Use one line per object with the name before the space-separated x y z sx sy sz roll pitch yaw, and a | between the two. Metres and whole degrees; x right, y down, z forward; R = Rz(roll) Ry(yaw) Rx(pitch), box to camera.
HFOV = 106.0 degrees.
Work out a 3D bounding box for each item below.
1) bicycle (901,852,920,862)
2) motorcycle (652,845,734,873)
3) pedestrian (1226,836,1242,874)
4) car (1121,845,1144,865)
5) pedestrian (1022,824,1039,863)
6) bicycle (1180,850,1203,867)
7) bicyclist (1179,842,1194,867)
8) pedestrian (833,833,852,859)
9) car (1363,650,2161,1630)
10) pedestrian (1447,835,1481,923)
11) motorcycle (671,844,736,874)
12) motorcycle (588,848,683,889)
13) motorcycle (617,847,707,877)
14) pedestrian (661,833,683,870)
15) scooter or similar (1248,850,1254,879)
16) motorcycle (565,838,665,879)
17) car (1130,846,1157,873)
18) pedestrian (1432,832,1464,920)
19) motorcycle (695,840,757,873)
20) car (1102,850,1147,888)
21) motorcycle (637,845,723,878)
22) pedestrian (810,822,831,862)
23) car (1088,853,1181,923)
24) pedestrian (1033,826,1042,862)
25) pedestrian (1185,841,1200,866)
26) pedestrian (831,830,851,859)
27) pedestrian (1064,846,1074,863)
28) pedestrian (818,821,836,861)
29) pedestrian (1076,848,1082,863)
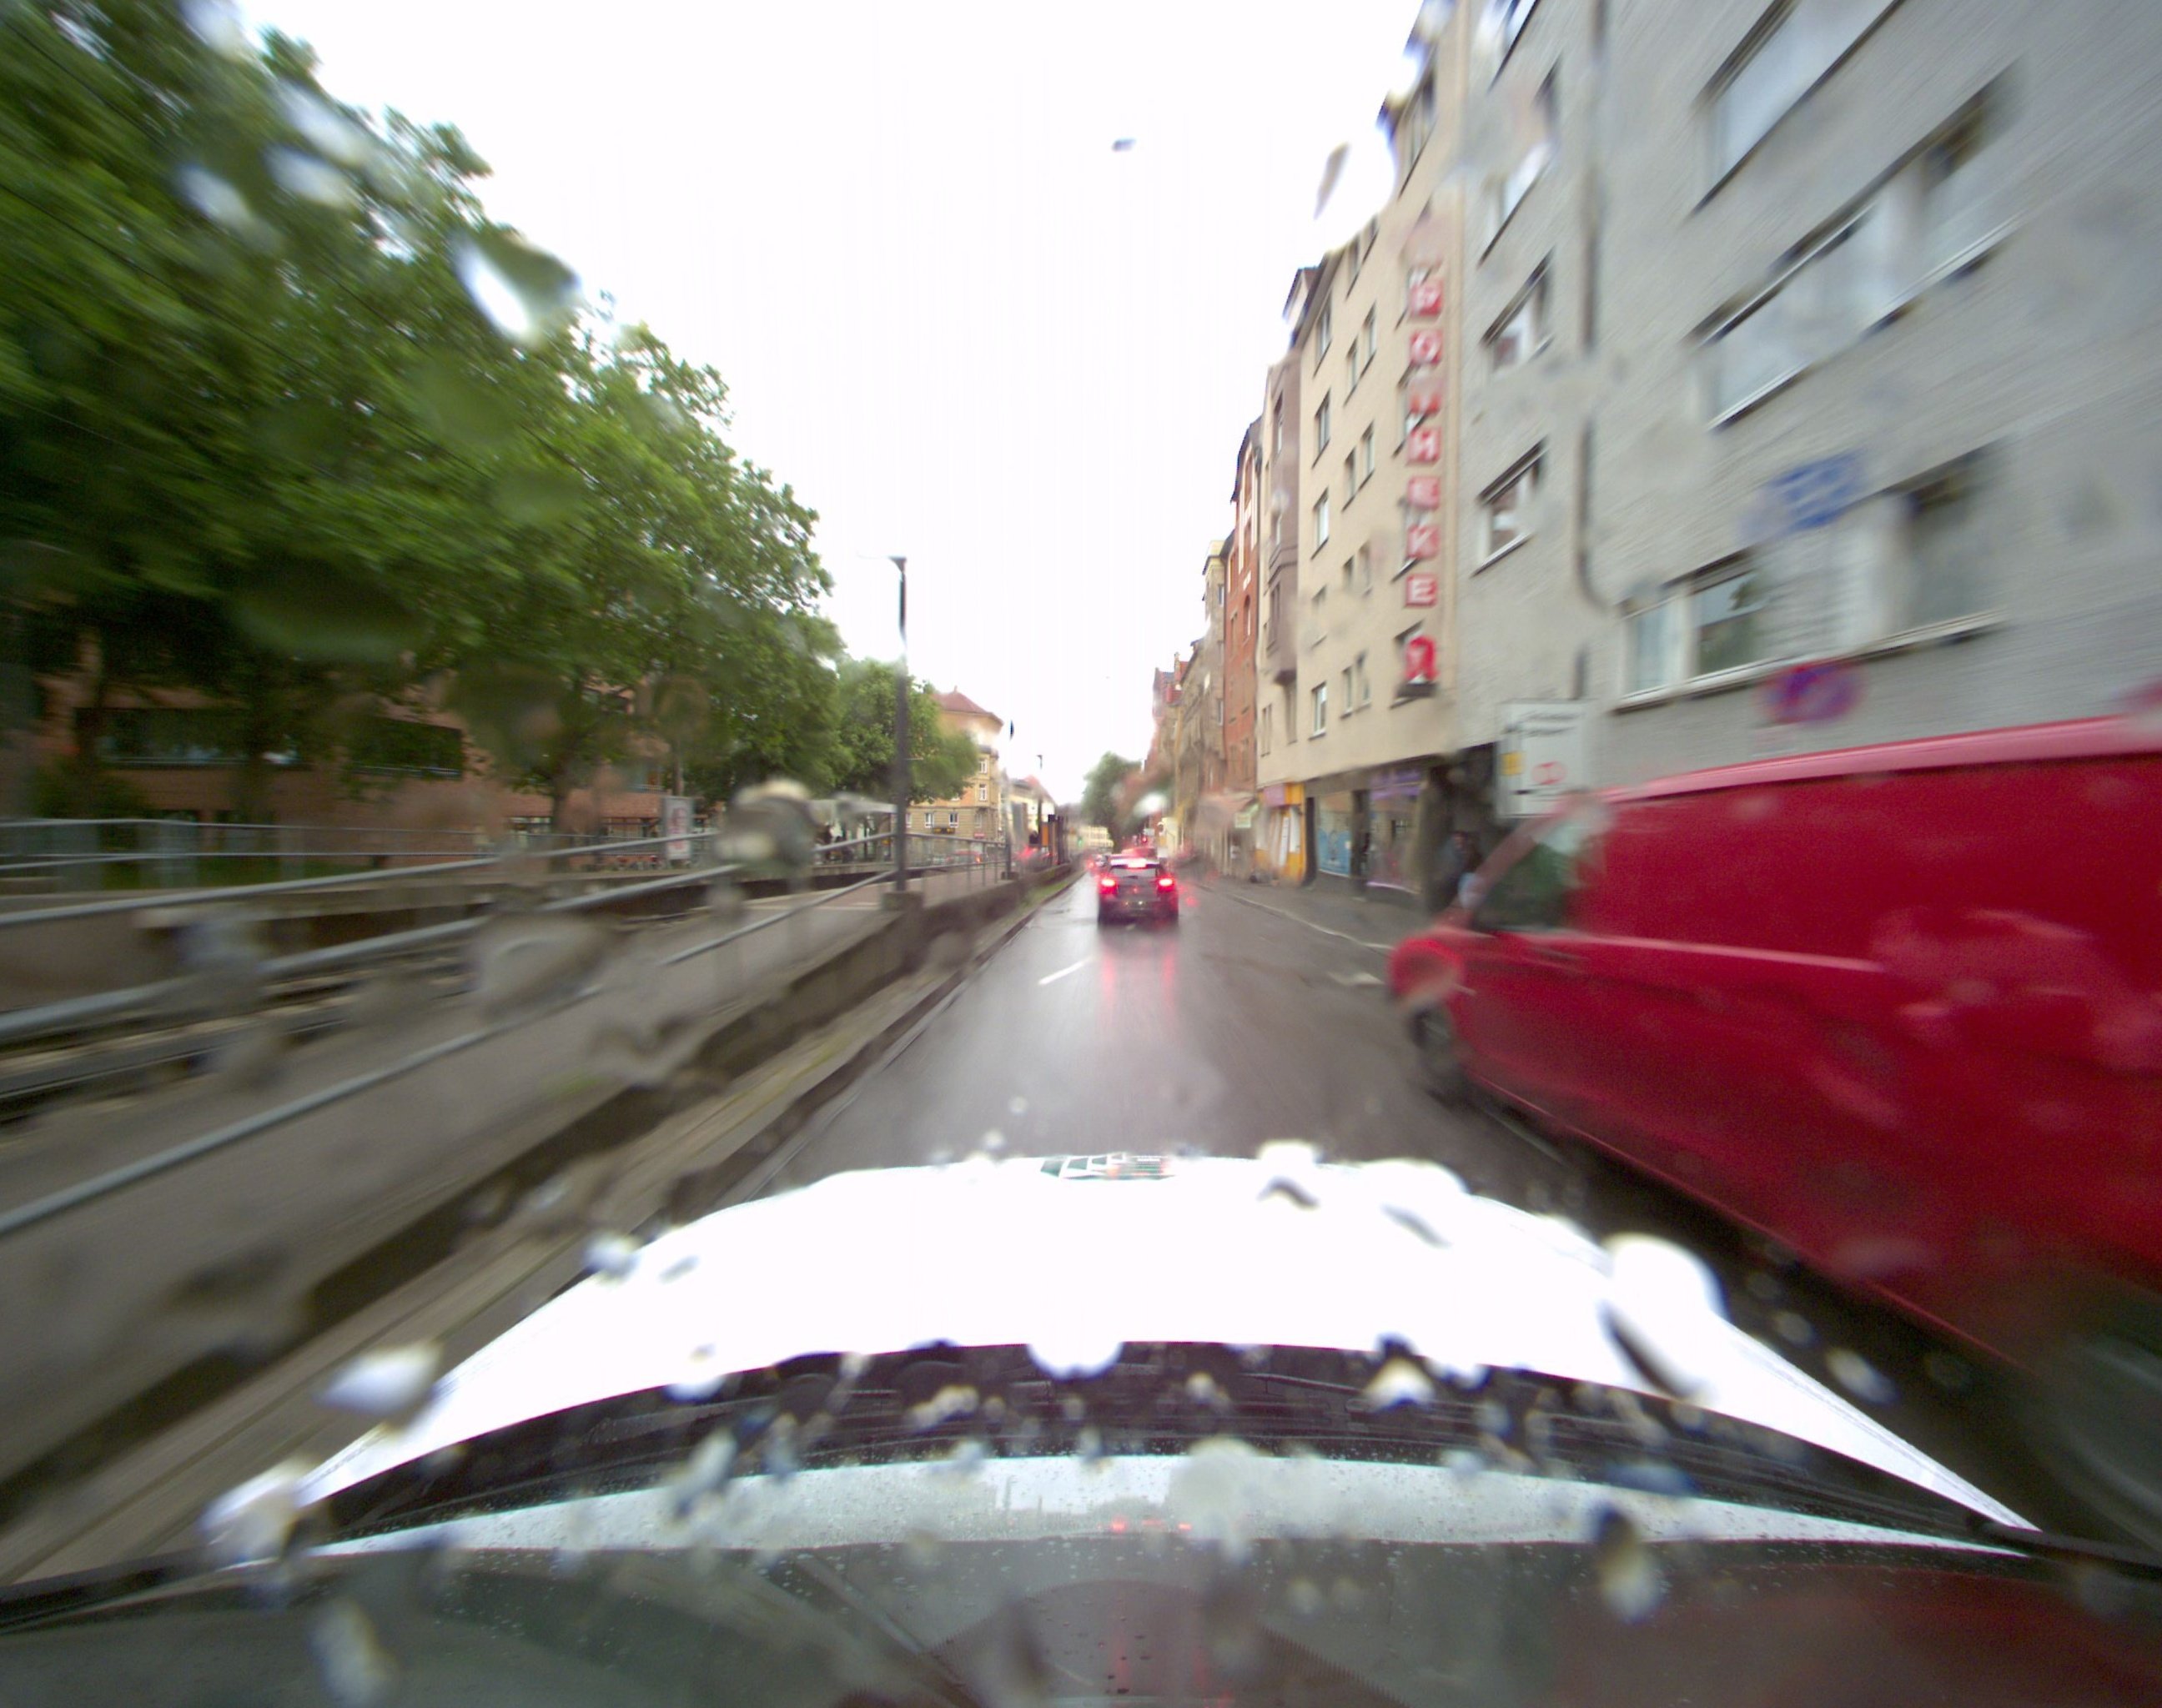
bicycle | -17.004 0.302 81.351 1.871 1.061 0.516 0 0 -10
motorcycle | -20.635 0.257 43.343 3.851 1.487 1.006 0 0 0
pedestrian | 7.428 0.054 39.604 0.576 1.830 0.563 -3 -1 -1
car | 4.911 0.086 78.370 1.927 1.831 4.279 0 1 -1
pedestrian | -2.127 -0.439 34.105 0.492 1.605 0.640 0 0 18
bicycle | 7.638 0.325 56.254 1.697 1.115 0.459 -1 0 -39
bicyclist | 7.350 0.038 56.626 0.854 1.657 0.624 -1 0 -39
pedestrian | -11.463 -0.401 39.169 0.701 1.240 0.564 1 1 -1
car | 3.008 0.523 3.230 1.968 1.838 5.245 0 0 0
pedestrian | 7.209 0.465 15.341 0.478 1.645 0.332 1 0 5
motorcycle | -20.600 0.256 44.476 3.048 1.627 1.006 0 0 0
motorcycle | -20.747 0.666 37.975 3.851 1.816 1.006 0 0 0
motorcycle | -20.552 0.387 39.985 3.851 1.407 1.006 0 0 0
pedestrian | -23.097 -0.144 46.023 0.729 2.013 0.982 0 0 4
scooter or similar | 7.202 0.434 34.490 0.256 1.222 1.198 0 1 11
motorcycle | -20.853 0.199 36.500 3.851 1.774 1.006 0 0 0
car | 4.748 0.389 62.515 1.913 1.936 4.689 0 0 3
pedestrian | 7.246 0.427 16.095 0.458 1.720 0.518 1 -1 10
motorcycle | -20.151 0.137 46.247 3.026 1.816 0.993 0 0 0
car | 1.800 0.596 34.399 1.674 1.489 3.612 -1 1 0
motorcycle | -20.316 0.385 41.335 3.851 1.605 1.006 0 0 0
pedestrian | -10.951 -0.510 34.302 0.684 1.641 0.564 1 1 -1
car | 1.188 0.696 18.799 1.887 1.390 4.003 1 1 2
pedestrian | -1.938 -0.451 36.269 0.408 1.605 0.450 0 0 -4
pedestrian | 7.976 -0.041 58.503 0.836 1.753 0.682 -1 0 -19
pedestrian | -11.365 -0.445 38.543 0.775 1.362 0.564 1 1 -1
pedestrian | -1.231 0.056 82.878 0.745 1.724 0.732 0 0 -42
pedestrian | -11.166 -0.566 35.782 0.560 1.715 0.706 1 1 0
pedestrian | -0.189 0.154 82.676 0.531 1.530 0.435 0 0 -7
